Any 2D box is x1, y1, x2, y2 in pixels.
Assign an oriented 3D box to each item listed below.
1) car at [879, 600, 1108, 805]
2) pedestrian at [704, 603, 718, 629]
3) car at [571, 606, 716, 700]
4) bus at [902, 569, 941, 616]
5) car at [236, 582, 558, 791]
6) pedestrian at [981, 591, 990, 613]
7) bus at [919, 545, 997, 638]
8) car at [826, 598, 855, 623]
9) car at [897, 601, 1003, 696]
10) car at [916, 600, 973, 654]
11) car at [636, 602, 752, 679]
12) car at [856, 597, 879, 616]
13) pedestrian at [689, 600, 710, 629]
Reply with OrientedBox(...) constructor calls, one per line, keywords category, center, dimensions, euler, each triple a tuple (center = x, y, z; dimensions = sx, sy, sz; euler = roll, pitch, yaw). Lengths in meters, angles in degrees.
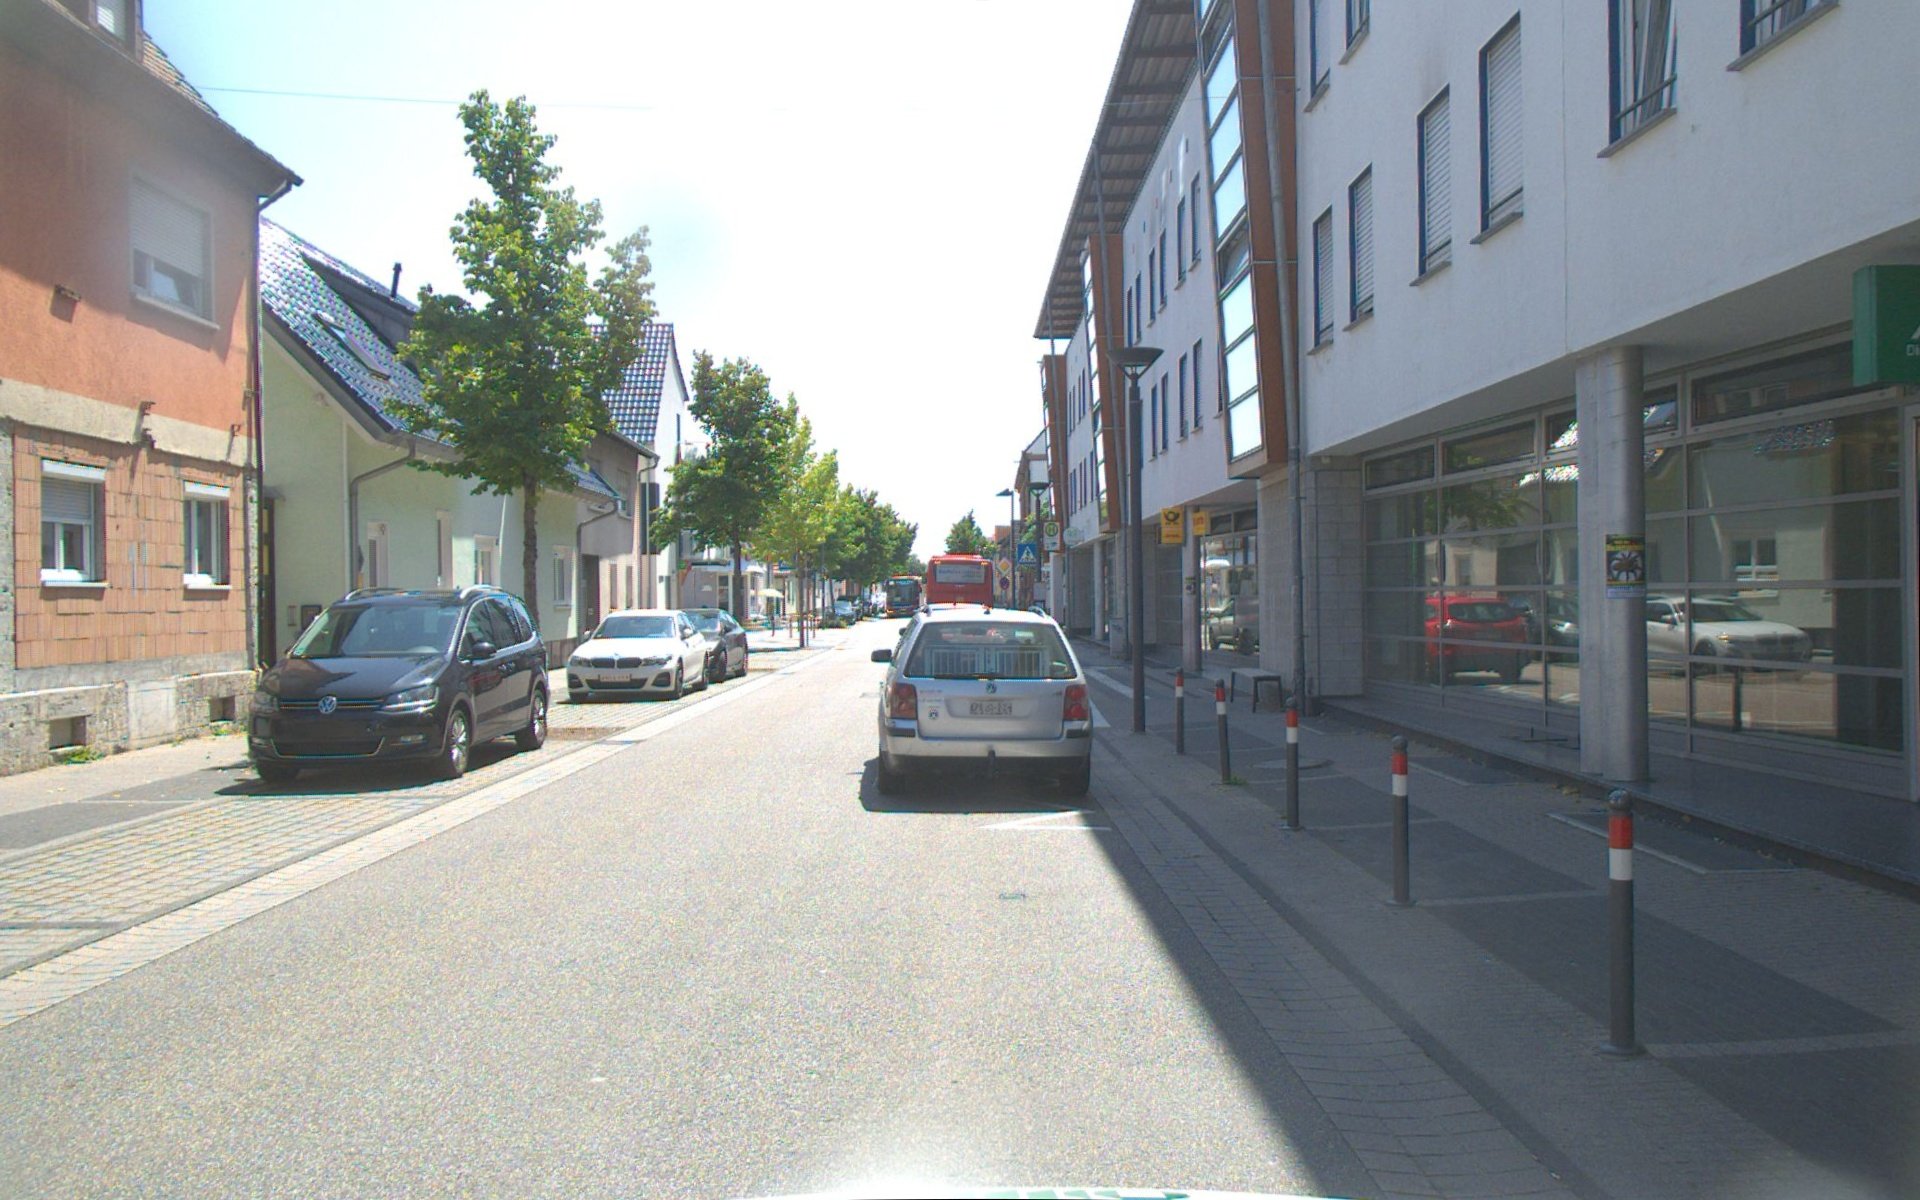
OrientedBox(category="car", center=(0.227, 0.753, 14.015), dimensions=(1.643, 1.455, 3.679), euler=(2, 0, -1))
OrientedBox(category="pedestrian", center=(-11.912, 0.758, 79.182), dimensions=(0.610, 1.199, 0.696), euler=(0, 0, -5))
OrientedBox(category="car", center=(-5.354, 0.844, 28.458), dimensions=(1.685, 1.462, 4.459), euler=(0, 0, -1))
OrientedBox(category="bus", center=(-3.160, -0.728, 131.709), dimensions=(2.615, 3.177, 17.800), euler=(0, 2, -3))
OrientedBox(category="car", center=(-5.333, 0.725, 16.328), dimensions=(1.739, 1.756, 4.518), euler=(-1, 0, -2))
OrientedBox(category="pedestrian", center=(1.989, 0.151, 128.588), dimensions=(0.594, 1.696, 0.789), euler=(0, 0, -2))
OrientedBox(category="bus", center=(-0.226, -0.291, 66.133), dimensions=(2.685, 3.356, 12.699), euler=(0, 0, -2))
OrientedBox(category="car", center=(-7.390, 0.640, 102.640), dimensions=(1.572, 1.463, 4.064), euler=(-1, 0, -1))
OrientedBox(category="car", center=(-0.175, 0.767, 27.831), dimensions=(1.643, 1.455, 3.679), euler=(1, 0, -1))
OrientedBox(category="car", center=(-0.415, 0.752, 47.462), dimensions=(1.561, 1.455, 3.679), euler=(1, 0, 0))
OrientedBox(category="car", center=(-5.381, 0.777, 33.991), dimensions=(1.626, 1.462, 4.538), euler=(0, 0, 0))
OrientedBox(category="car", center=(-7.580, 0.525, 135.817), dimensions=(1.774, 1.586, 3.999), euler=(-1, 0, -1))
OrientedBox(category="pedestrian", center=(-12.269, 0.684, 77.897), dimensions=(0.631, 1.311, 0.777), euler=(2, -1, -44))
